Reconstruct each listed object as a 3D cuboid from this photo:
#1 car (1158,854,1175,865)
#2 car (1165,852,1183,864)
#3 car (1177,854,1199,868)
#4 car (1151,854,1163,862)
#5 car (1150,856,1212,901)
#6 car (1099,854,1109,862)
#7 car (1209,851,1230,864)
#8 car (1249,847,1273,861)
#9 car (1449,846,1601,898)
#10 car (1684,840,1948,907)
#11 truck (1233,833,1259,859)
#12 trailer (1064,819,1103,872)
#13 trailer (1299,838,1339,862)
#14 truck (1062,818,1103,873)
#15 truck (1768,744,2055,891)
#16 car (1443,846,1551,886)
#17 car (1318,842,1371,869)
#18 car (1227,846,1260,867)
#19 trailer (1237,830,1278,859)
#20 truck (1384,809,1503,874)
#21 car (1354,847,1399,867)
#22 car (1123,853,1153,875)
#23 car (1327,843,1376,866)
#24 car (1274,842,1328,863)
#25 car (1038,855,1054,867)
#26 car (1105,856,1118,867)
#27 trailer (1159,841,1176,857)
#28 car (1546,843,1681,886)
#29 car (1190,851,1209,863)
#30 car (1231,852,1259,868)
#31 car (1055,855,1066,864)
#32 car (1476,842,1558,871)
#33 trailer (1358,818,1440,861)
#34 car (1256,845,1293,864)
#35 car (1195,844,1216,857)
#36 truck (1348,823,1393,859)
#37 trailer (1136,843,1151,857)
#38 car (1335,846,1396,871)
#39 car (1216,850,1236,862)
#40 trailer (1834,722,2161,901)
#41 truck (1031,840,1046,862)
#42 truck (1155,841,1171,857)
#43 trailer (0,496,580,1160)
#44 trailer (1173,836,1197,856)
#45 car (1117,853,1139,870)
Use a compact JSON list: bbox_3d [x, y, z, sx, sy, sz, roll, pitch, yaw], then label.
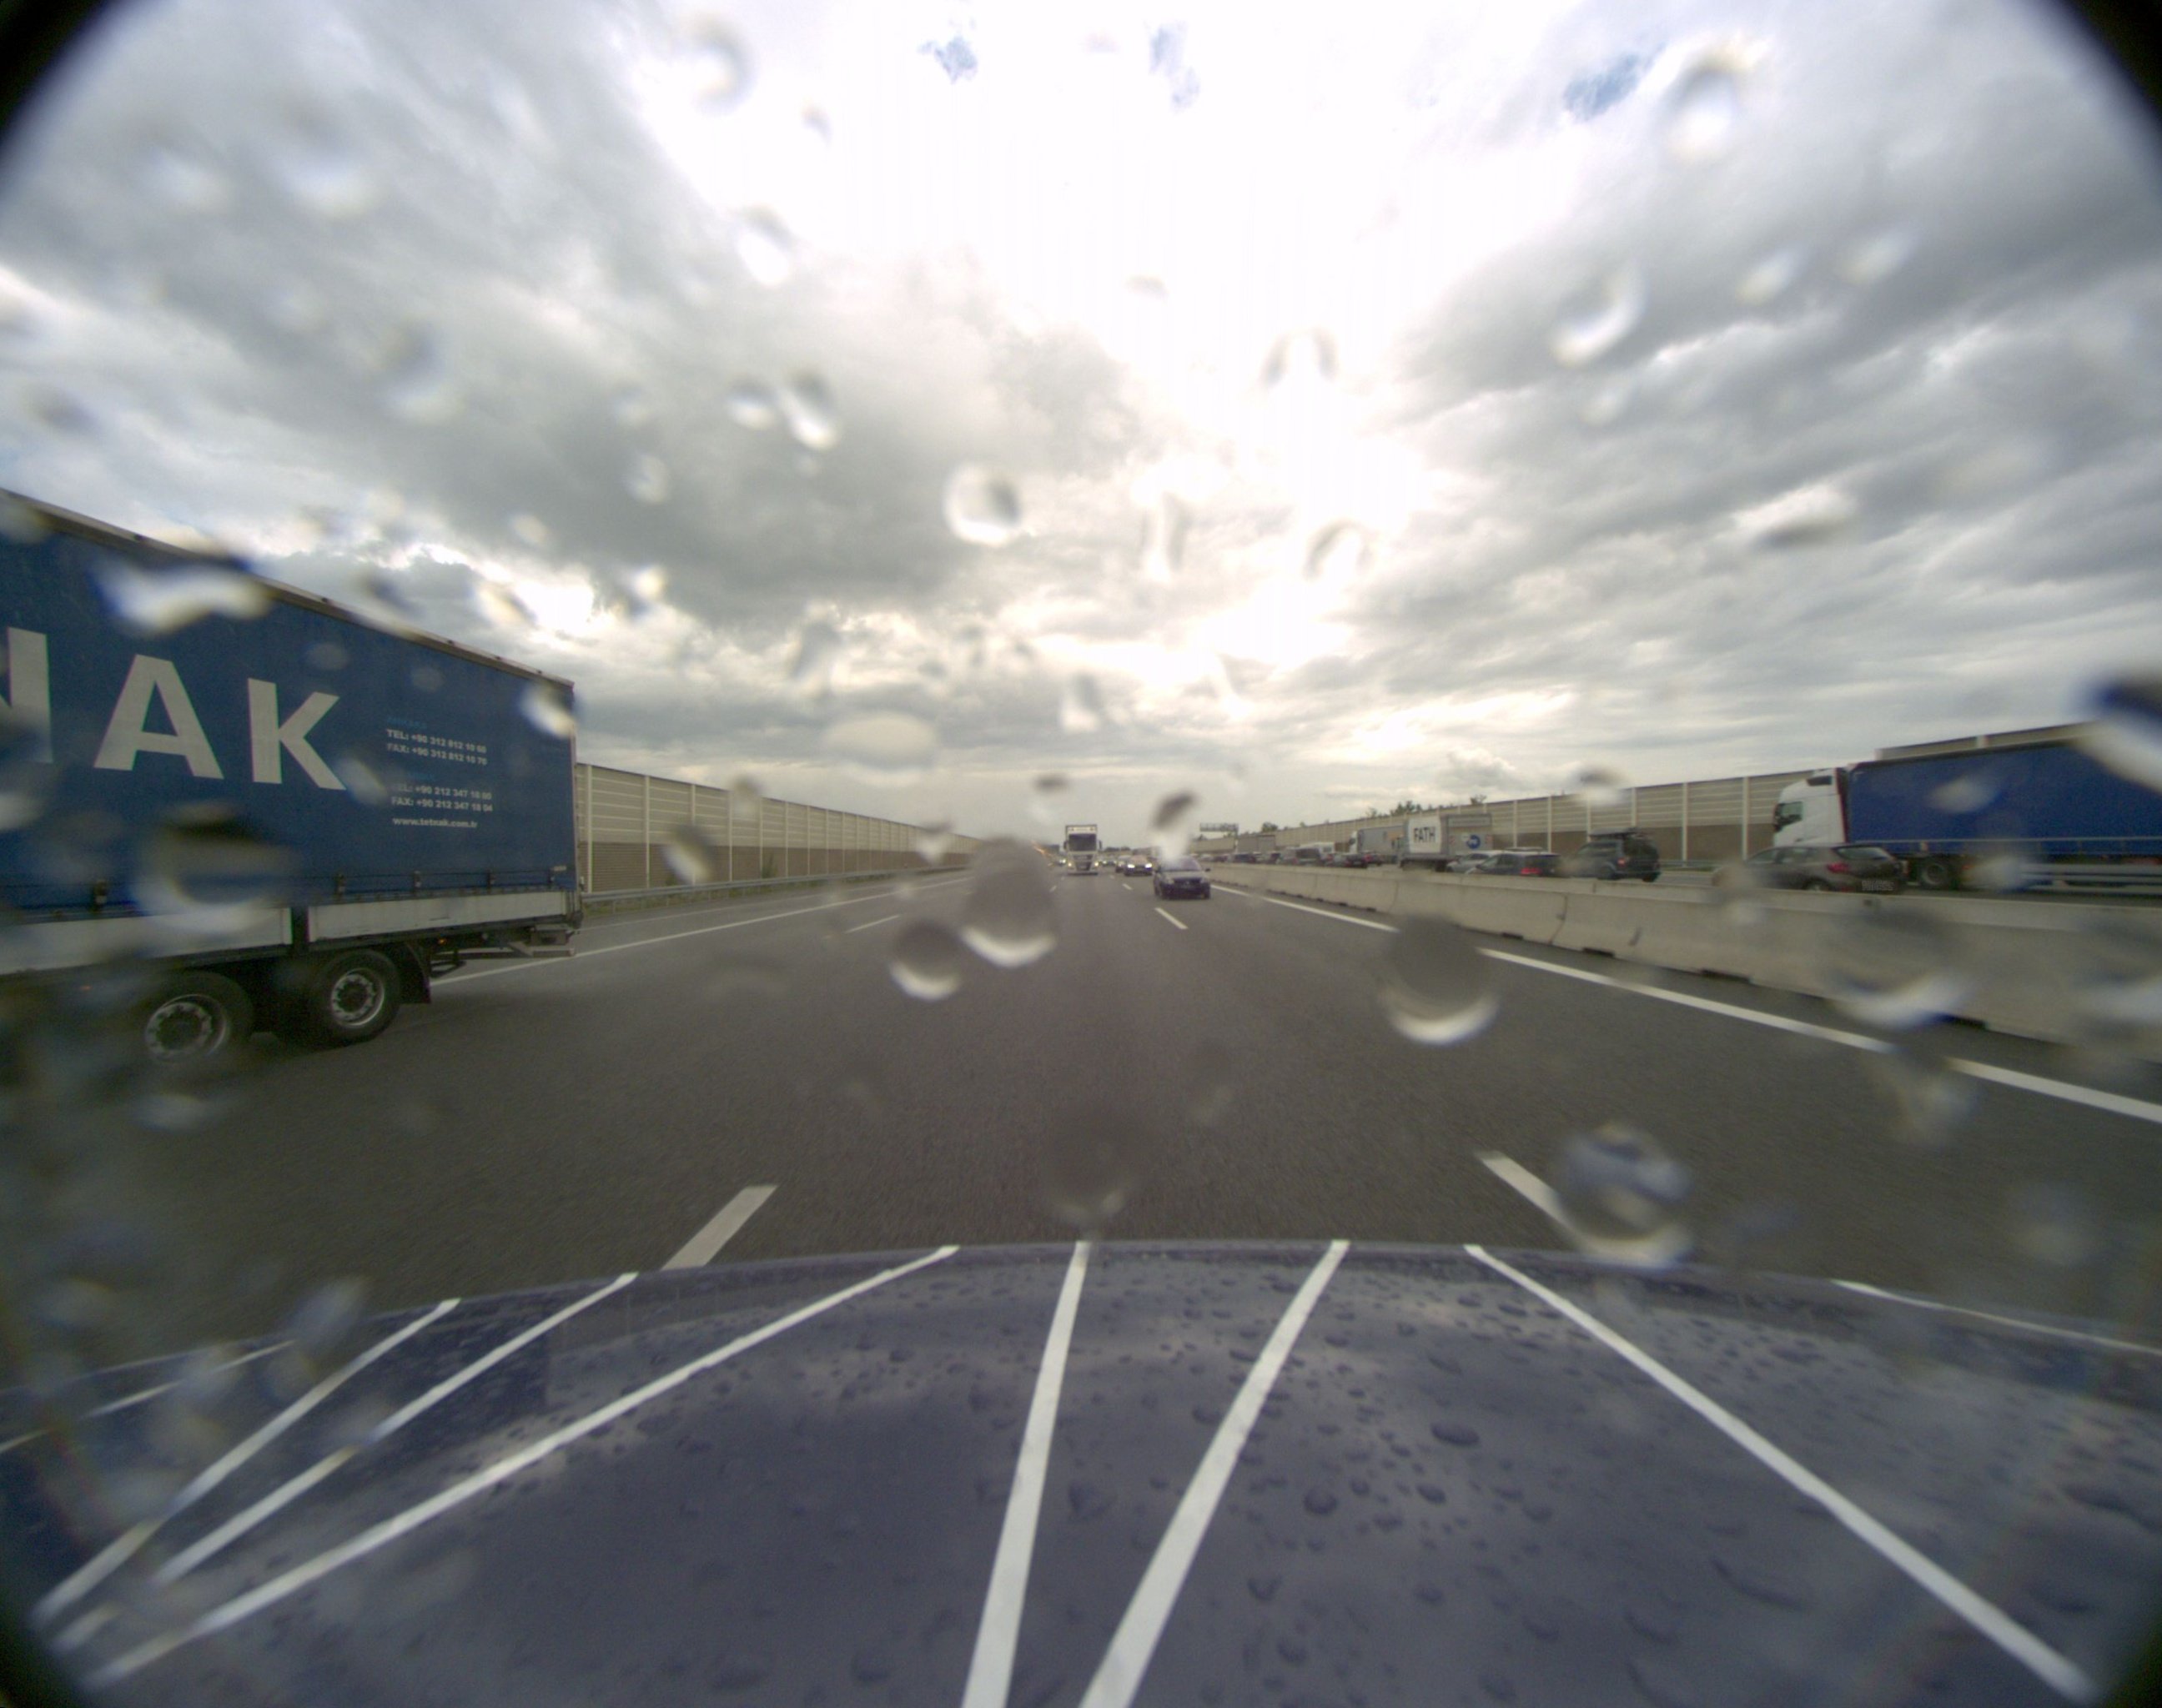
[{"bbox_3d":[14.370,0.928,128.108,2.066,1.805,4.777,-1,0,-2],"label":"car"},{"bbox_3d":[13.769,0.551,112.482,1.960,1.689,4.892,-1,0,-2],"label":"car"},{"bbox_3d":[13.848,0.934,98.532,1.960,1.689,4.410,-1,0,-2],"label":"car"},{"bbox_3d":[17.038,0.904,170.839,2.066,1.881,5.806,-1,0,-2],"label":"car"},{"bbox_3d":[3.405,0.799,26.444,1.578,1.395,4.000,-2,0,0],"label":"car"},{"bbox_3d":[3.955,0.699,130.916,1.498,1.395,4.000,-2,0,0],"label":"car"},{"bbox_3d":[18.491,0.436,101.600,1.960,1.689,4.410,-1,0,-2],"label":"car"},{"bbox_3d":[22.943,0.043,96.956,1.960,1.689,4.410,-1,0,-2],"label":"car"},{"bbox_3d":[14.333,0.508,24.952,2.065,1.482,4.996,-1,1,0],"label":"car"},{"bbox_3d":[18.461,0.411,19.539,2.065,1.482,4.997,-1,1,2],"label":"car"},{"bbox_3d":[26.321,-1.280,121.262,2.752,4.011,5.725,-2,0,0],"label":"truck"},{"bbox_3d":[0.360,-0.683,68.092,2.925,4.188,13.198,-2,0,2],"label":"trailer"},{"bbox_3d":[26.259,-0.391,84.171,2.465,2.480,6.085,-1,0,0],"label":"trailer"},{"bbox_3d":[0.214,-0.641,61.187,2.913,4.146,5.193,-3,0,3],"label":"truck"},{"bbox_3d":[25.663,-1.028,23.964,2.752,4.011,5.725,-2,0,0],"label":"truck"},{"bbox_3d":[18.368,0.472,33.835,2.065,1.590,4.996,-1,1,0],"label":"car"},{"bbox_3d":[18.264,0.108,52.967,1.878,1.689,5.015,-1,0,-1],"label":"car"},{"bbox_3d":[14.406,0.204,67.587,1.878,1.690,4.221,-1,0,-1],"label":"car"},{"bbox_3d":[26.288,-1.413,113.896,2.768,4.008,14.452,-2,0,0],"label":"trailer"},{"bbox_3d":[22.334,-0.722,47.622,2.703,3.506,9.996,-2,0,1],"label":"truck"},{"bbox_3d":[27.077,0.300,69.806,2.066,1.689,5.088,-1,0,-1],"label":"car"},{"bbox_3d":[4.058,0.684,54.656,1.776,1.451,4.480,-2,0,0],"label":"car"},{"bbox_3d":[21.846,0.036,61.664,2.066,1.689,5.088,-1,0,-1],"label":"car"},{"bbox_3d":[14.331,-0.088,49.855,1.878,1.291,5.600,-1,0,-1],"label":"car"},{"bbox_3d":[-4.071,0.792,89.524,1.698,1.395,4.000,-2,0,0],"label":"car"},{"bbox_3d":[4.112,1.024,101.940,1.498,1.395,4.000,-2,0,0],"label":"car"},{"bbox_3d":[21.312,-1.180,187.825,2.938,3.916,10.119,-1,0,0],"label":"trailer"},{"bbox_3d":[21.840,0.364,31.474,2.065,1.590,4.996,-1,1,0],"label":"car"},{"bbox_3d":[19.107,0.454,122.587,2.066,1.805,4.777,-1,0,-2],"label":"car"},{"bbox_3d":[18.305,0.636,85.005,1.960,1.689,4.410,-1,0,-2],"label":"car"},{"bbox_3d":[-3.269,0.855,120.922,1.498,1.395,4.000,-2,0,0],"label":"car"},{"bbox_3d":[25.971,0.134,45.504,2.065,1.590,4.996,-1,1,0],"label":"car"},{"bbox_3d":[33.359,-1.423,80.580,2.943,4.008,13.859,-2,0,0],"label":"trailer"},{"bbox_3d":[18.310,0.018,72.094,2.066,1.689,5.088,-1,0,-1],"label":"car"},{"bbox_3d":[18.133,-0.443,110.652,2.066,1.805,5.113,-1,0,-2],"label":"car"},{"bbox_3d":[33.367,-1.453,87.705,2.924,4.011,5.725,-2,0,0],"label":"truck"},{"bbox_3d":[19.415,-1.097,237.215,3.066,4.136,14.314,-1,0,-1],"label":"trailer"},{"bbox_3d":[18.164,0.262,48.770,2.065,1.482,4.997,-1,1,1],"label":"car"},{"bbox_3d":[21.355,0.324,111.815,1.960,1.689,4.410,-1,0,-2],"label":"car"},{"bbox_3d":[25.640,-0.986,17.222,2.768,4.008,14.451,-2,0,0],"label":"trailer"},{"bbox_3d":[-8.343,-0.501,150.099,2.600,4.088,11.369,-2,0,-2],"label":"truck"},{"bbox_3d":[21.300,-1.173,198.462,2.945,3.922,11.066,-1,0,0],"label":"truck"},{"bbox_3d":[-7.906,-0.131,2.562,2.768,4.008,14.451,-2,0,0],"label":"trailer"},{"bbox_3d":[21.453,-1.564,157.624,2.768,4.008,14.450,-2,0,-1],"label":"trailer"},{"bbox_3d":[4.116,0.639,67.004,1.732,1.395,4.000,-2,0,0],"label":"car"}]
